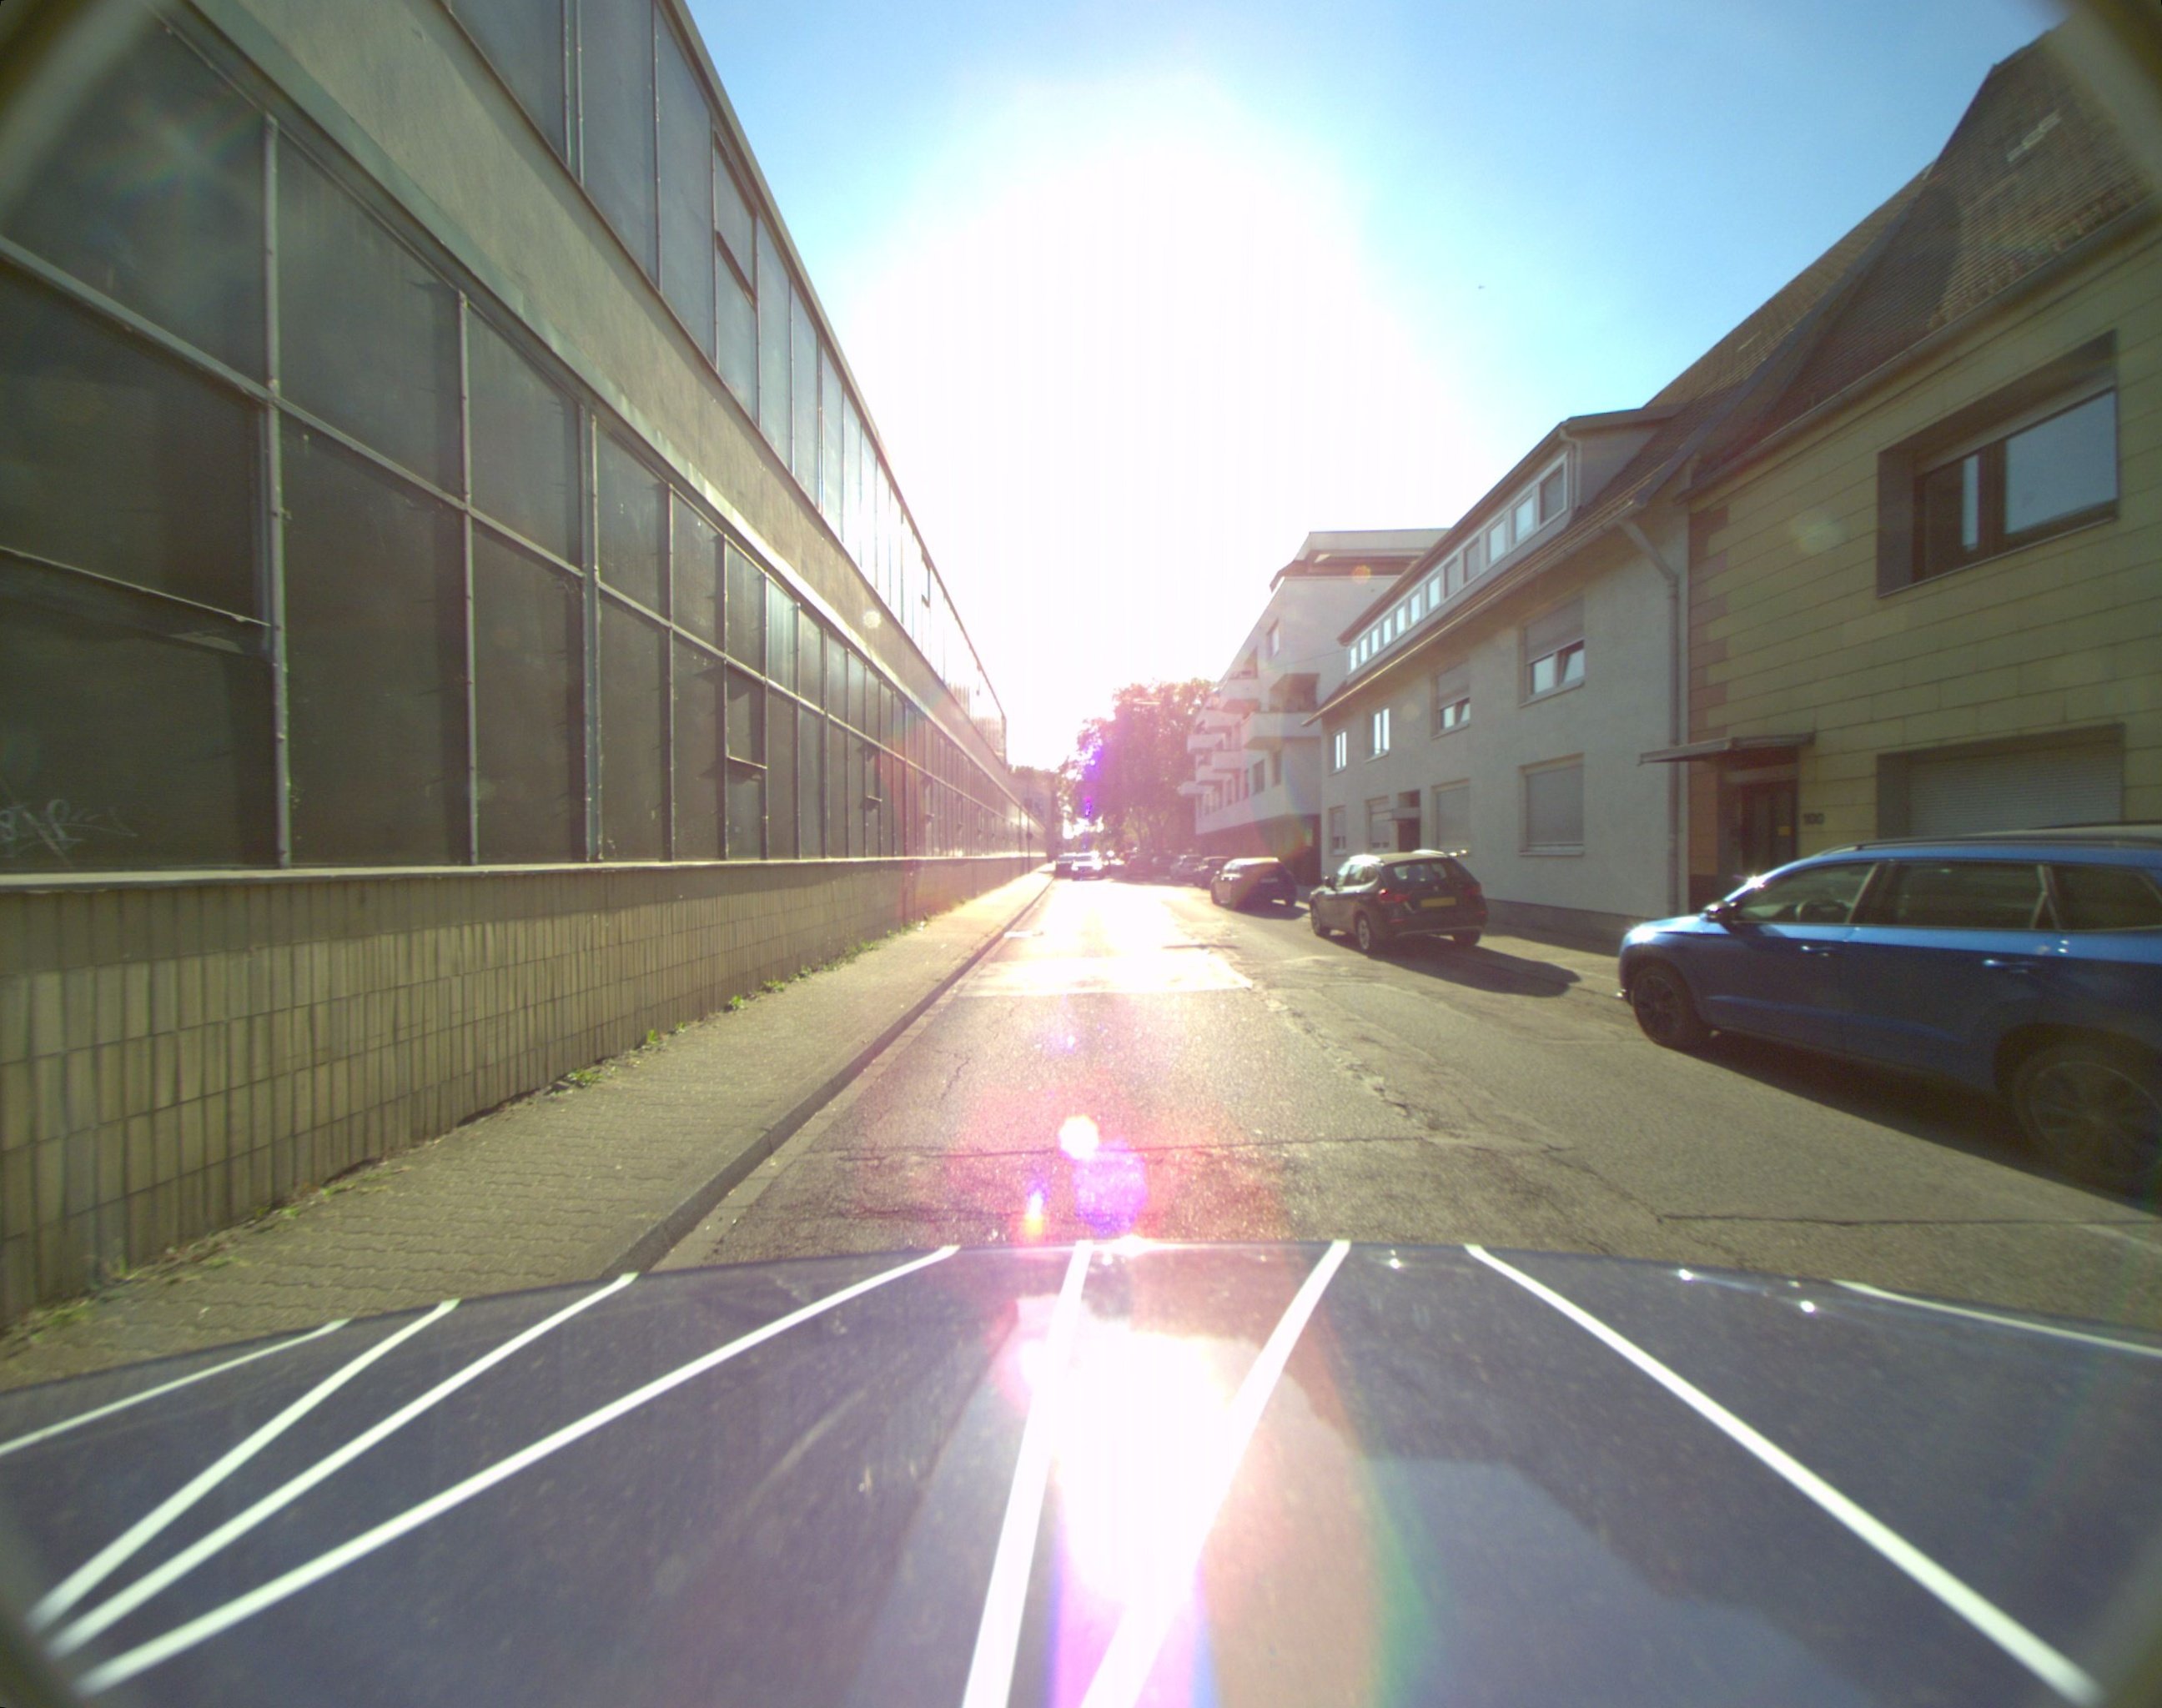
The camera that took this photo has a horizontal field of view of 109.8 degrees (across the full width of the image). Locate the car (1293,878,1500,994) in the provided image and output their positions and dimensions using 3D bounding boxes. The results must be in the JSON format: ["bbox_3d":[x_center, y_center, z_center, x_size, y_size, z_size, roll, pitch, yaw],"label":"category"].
[{"bbox_3d":[5.232,1.276,13.301,1.862,1.577,4.336,-1,-1,1],"label":"car"}]

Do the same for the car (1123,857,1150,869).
[{"bbox_3d":[8.857,1.479,122.043,4.006,1.875,1.713,0,1,-27],"label":"car"}]

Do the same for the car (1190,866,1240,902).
[{"bbox_3d":[6.369,1.387,36.510,1.672,1.527,3.856,-1,0,0],"label":"car"}]

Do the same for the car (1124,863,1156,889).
[{"bbox_3d":[3.714,1.370,48.398,1.846,1.482,4.145,2,0,3],"label":"car"}]

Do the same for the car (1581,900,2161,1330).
[{"bbox_3d":[5.283,1.158,4.534,1.813,1.577,4.194,-1,-1,0],"label":"car"}]

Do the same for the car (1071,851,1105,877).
[{"bbox_3d":[0.421,0.594,47.199,1.855,1.527,3.856,-1,0,-3],"label":"car"}]

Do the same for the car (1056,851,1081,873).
[{"bbox_3d":[-0.978,0.581,58.616,1.812,1.578,4.404,-1,0,-2],"label":"car"}]

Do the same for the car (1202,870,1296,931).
[{"bbox_3d":[5.049,1.344,23.398,1.689,1.526,4.333,-1,0,-3],"label":"car"}]

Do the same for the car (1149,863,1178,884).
[{"bbox_3d":[6.245,1.451,57.615,1.679,1.425,3.770,-1,0,-1],"label":"car"}]

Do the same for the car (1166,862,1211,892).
[{"bbox_3d":[6.429,1.357,46.049,1.863,1.578,4.620,-1,0,-3],"label":"car"}]

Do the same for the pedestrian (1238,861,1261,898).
[{"bbox_3d":[8.498,1.266,38.252,0.862,1.808,1.134,-3,0,24],"label":"pedestrian"}]
